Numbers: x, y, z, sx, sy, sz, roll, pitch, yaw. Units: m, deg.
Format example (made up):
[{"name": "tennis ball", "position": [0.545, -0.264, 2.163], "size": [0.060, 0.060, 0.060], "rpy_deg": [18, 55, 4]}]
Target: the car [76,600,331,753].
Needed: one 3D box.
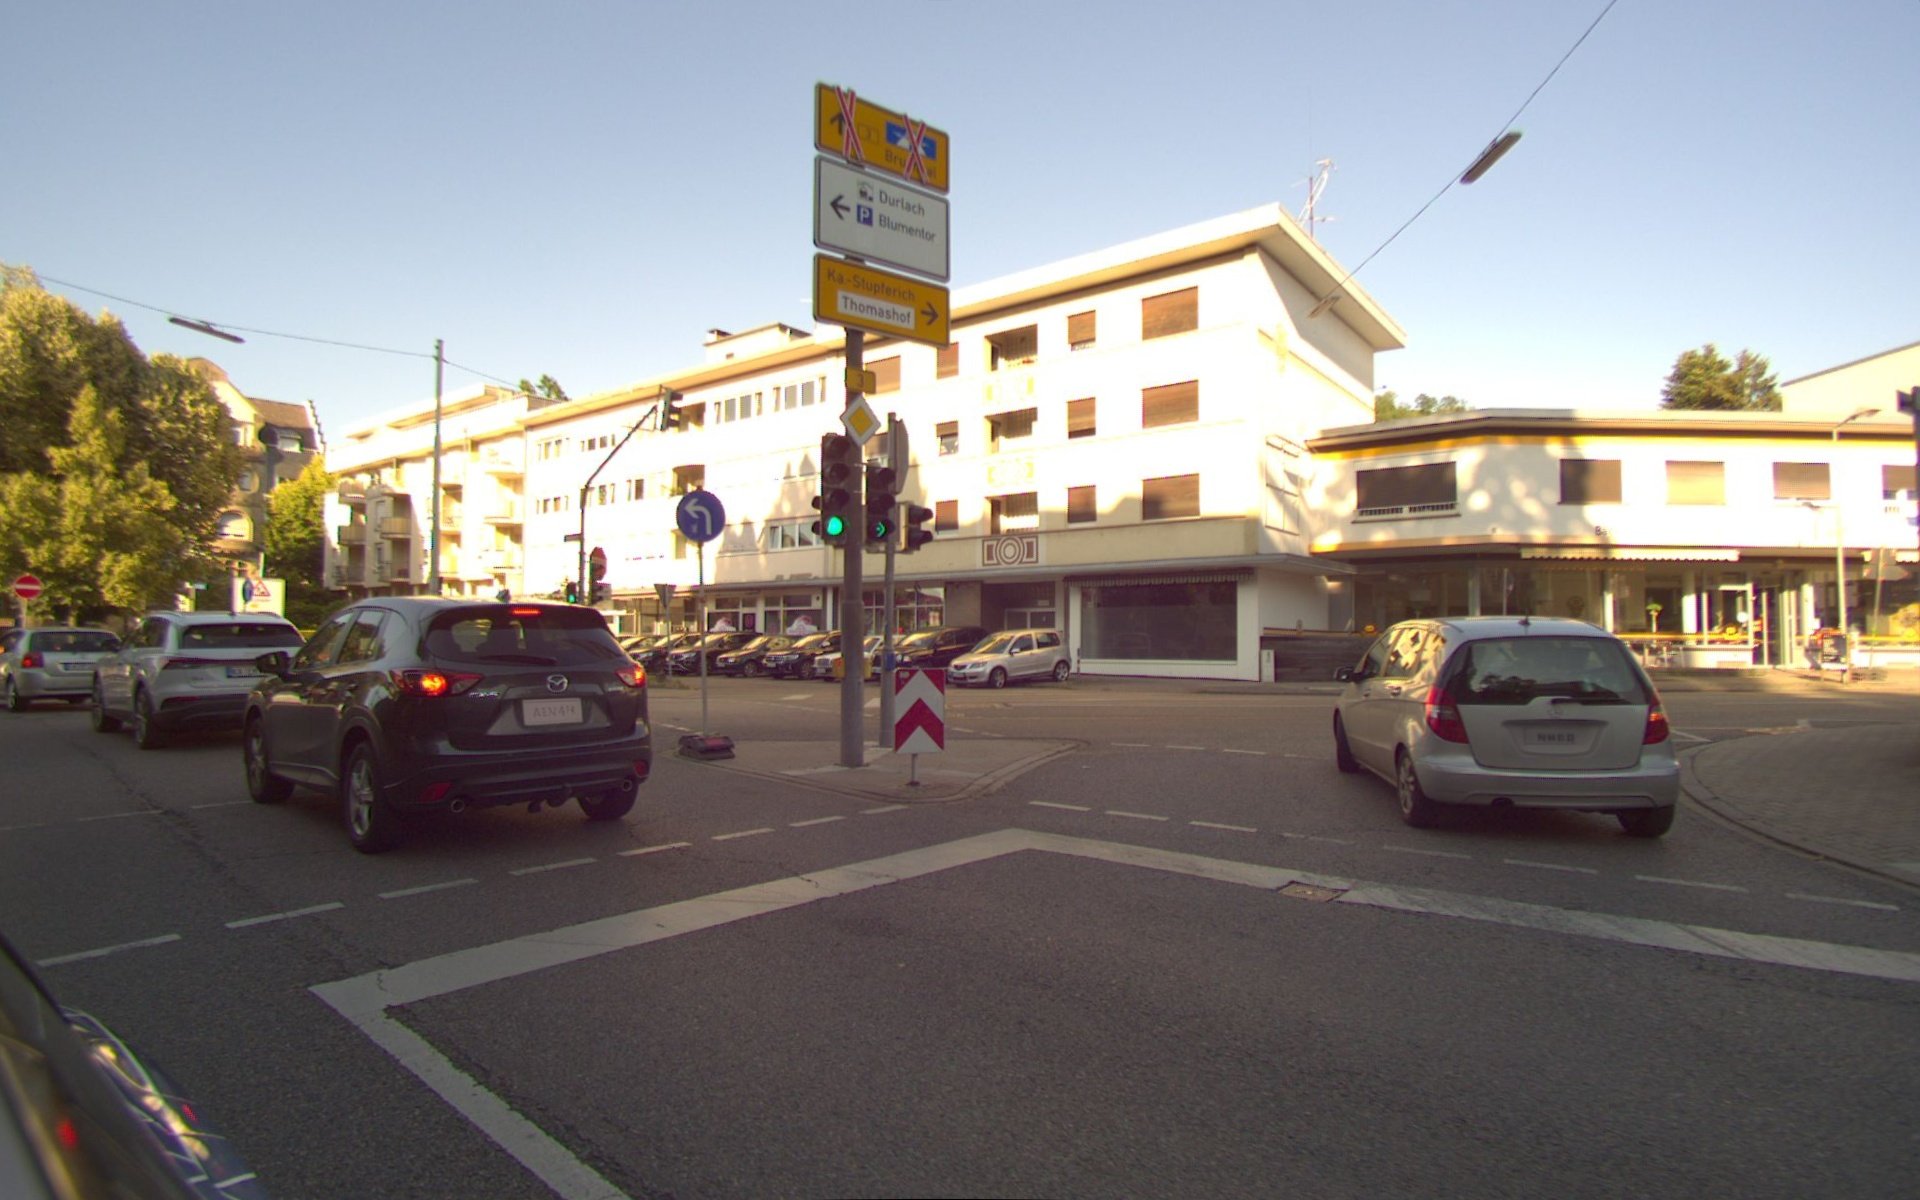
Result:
[{"name": "car", "position": [-9.953, 0.925, 13.186], "size": [4.532, 1.661, 1.757], "rpy_deg": [-3, -2, 41]}]

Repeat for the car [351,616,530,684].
[{"name": "car", "position": [-16.425, 1.530, 32.183], "size": [2.114, 1.980, 4.623], "rpy_deg": [-3, -2, 37]}]

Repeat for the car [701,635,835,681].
[{"name": "car", "position": [-6.618, 1.977, 35.260], "size": [1.999, 1.409, 4.268], "rpy_deg": [-3, -2, 41]}]

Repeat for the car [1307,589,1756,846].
[{"name": "car", "position": [4.475, 0.839, 8.825], "size": [1.937, 1.661, 4.271], "rpy_deg": [-2, -2, 9]}]

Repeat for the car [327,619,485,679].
[{"name": "car", "position": [-18.613, 1.601, 34.132], "size": [1.999, 1.866, 4.267], "rpy_deg": [-3, -2, 42]}]

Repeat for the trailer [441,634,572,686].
[{"name": "trailer", "position": [-13.563, 1.764, 30.379], "size": [1.571, 1.407, 3.223], "rpy_deg": [-3, -2, 37]}]

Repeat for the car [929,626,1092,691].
[{"name": "car", "position": [1.468, 1.604, 28.465], "size": [4.257, 1.623, 2.004], "rpy_deg": [0, -2, -37]}]

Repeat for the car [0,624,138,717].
[{"name": "car", "position": [-16.595, 1.235, 18.285], "size": [4.088, 1.491, 1.759], "rpy_deg": [-3, -2, 37]}]

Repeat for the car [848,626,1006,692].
[{"name": "car", "position": [-0.940, 1.693, 29.759], "size": [4.257, 1.728, 2.004], "rpy_deg": [0, -2, -37]}]

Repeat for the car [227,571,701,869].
[{"name": "car", "position": [-4.033, 0.754, 7.849], "size": [4.283, 1.661, 1.932], "rpy_deg": [-3, -2, 43]}]

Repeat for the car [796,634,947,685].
[{"name": "car", "position": [-2.728, 1.812, 31.611], "size": [4.257, 1.409, 2.004], "rpy_deg": [0, -2, -37]}]
